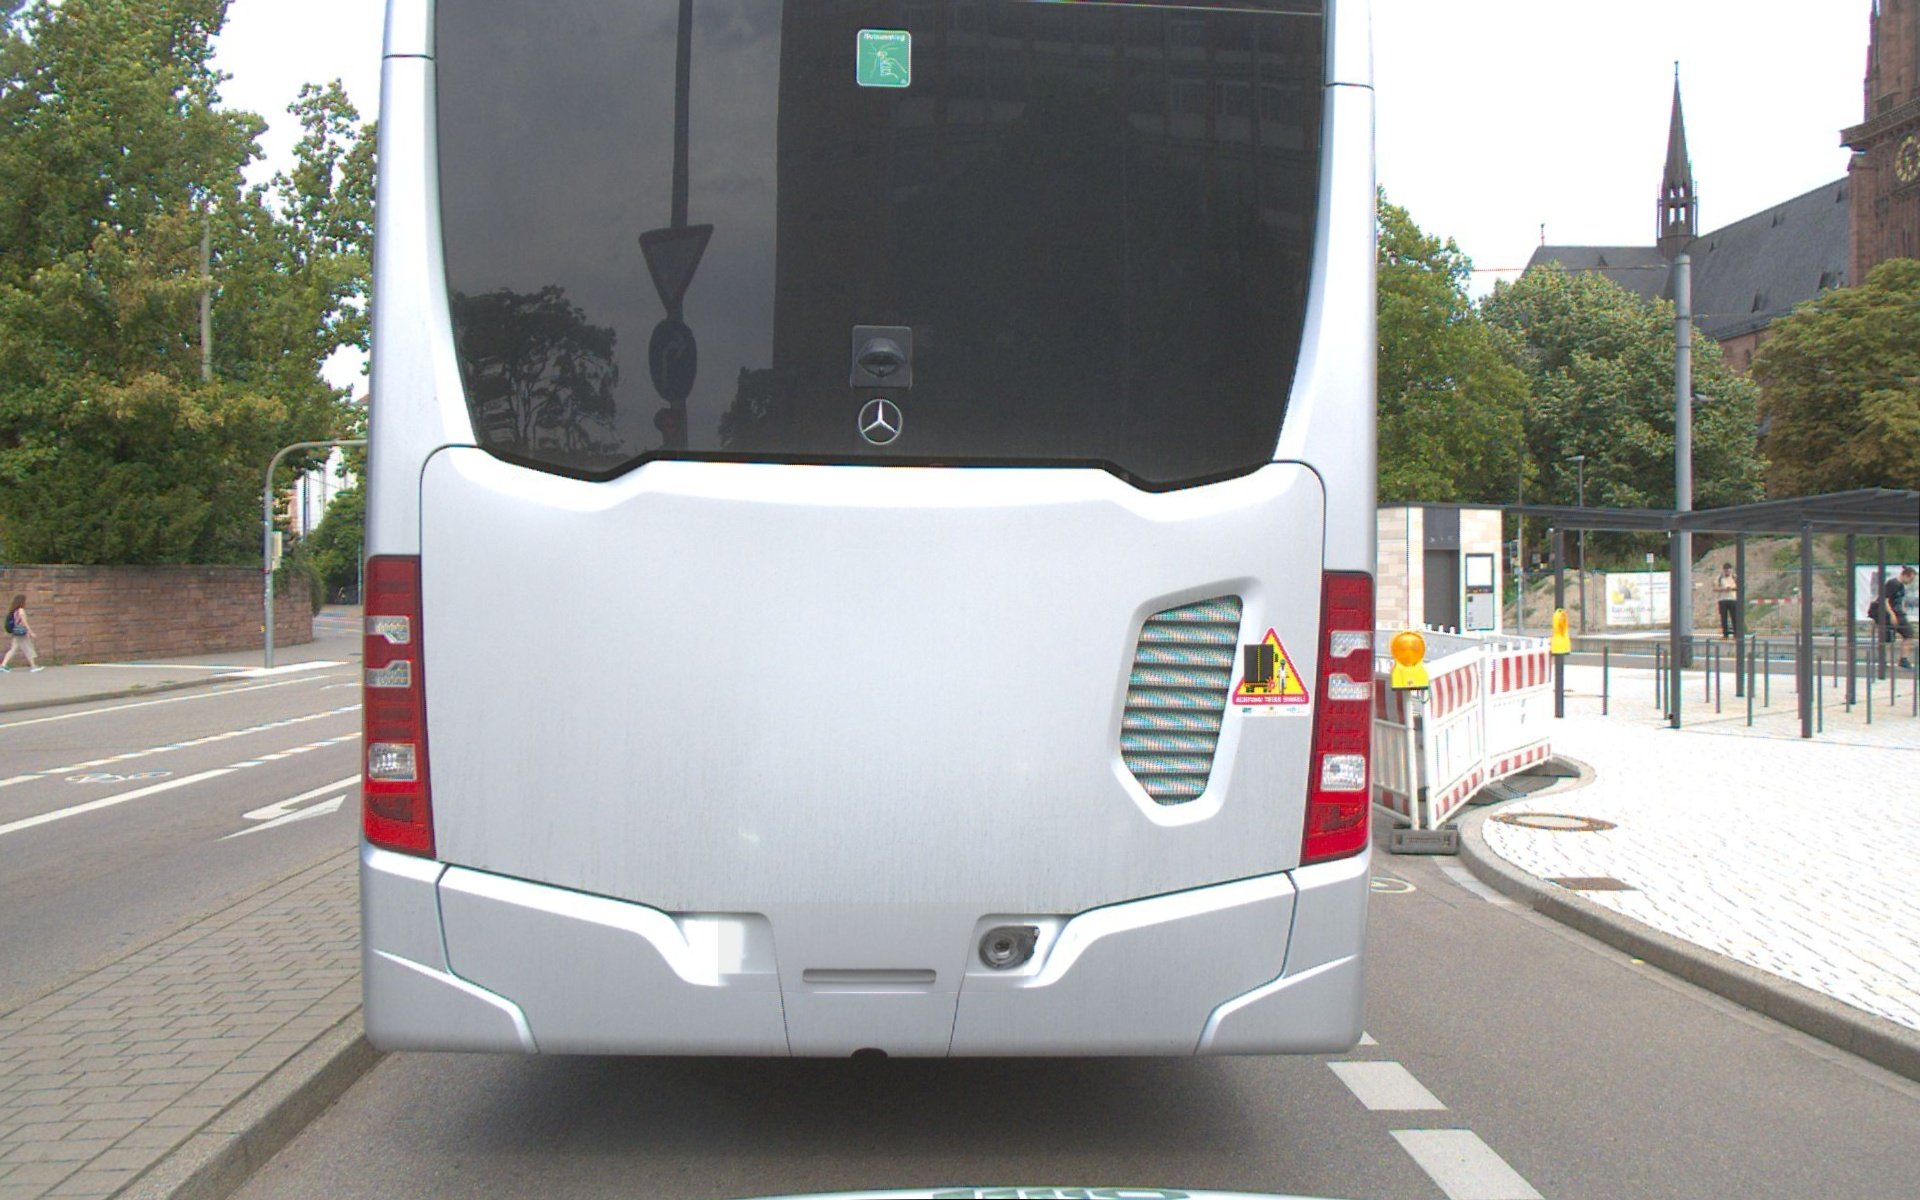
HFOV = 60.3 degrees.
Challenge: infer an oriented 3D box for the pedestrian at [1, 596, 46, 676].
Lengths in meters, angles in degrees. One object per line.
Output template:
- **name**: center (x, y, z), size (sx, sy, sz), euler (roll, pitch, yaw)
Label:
- **pedestrian**: center (-20.335, 0.773, 35.930), size (0.519, 1.683, 0.630), euler (1, 3, 22)

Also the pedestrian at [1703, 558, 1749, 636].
- **pedestrian**: center (18.365, -0.082, 39.649), size (0.803, 1.832, 0.753), euler (0, 3, 9)

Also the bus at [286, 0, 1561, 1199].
- **bus**: center (0.137, -0.259, 10.531), size (2.648, 3.498, 14.187), euler (0, 0, 2)

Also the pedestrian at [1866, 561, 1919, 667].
- **pedestrian**: center (15.241, 0.212, 26.981), size (0.526, 1.683, 0.621), euler (-2, 3, -38)
